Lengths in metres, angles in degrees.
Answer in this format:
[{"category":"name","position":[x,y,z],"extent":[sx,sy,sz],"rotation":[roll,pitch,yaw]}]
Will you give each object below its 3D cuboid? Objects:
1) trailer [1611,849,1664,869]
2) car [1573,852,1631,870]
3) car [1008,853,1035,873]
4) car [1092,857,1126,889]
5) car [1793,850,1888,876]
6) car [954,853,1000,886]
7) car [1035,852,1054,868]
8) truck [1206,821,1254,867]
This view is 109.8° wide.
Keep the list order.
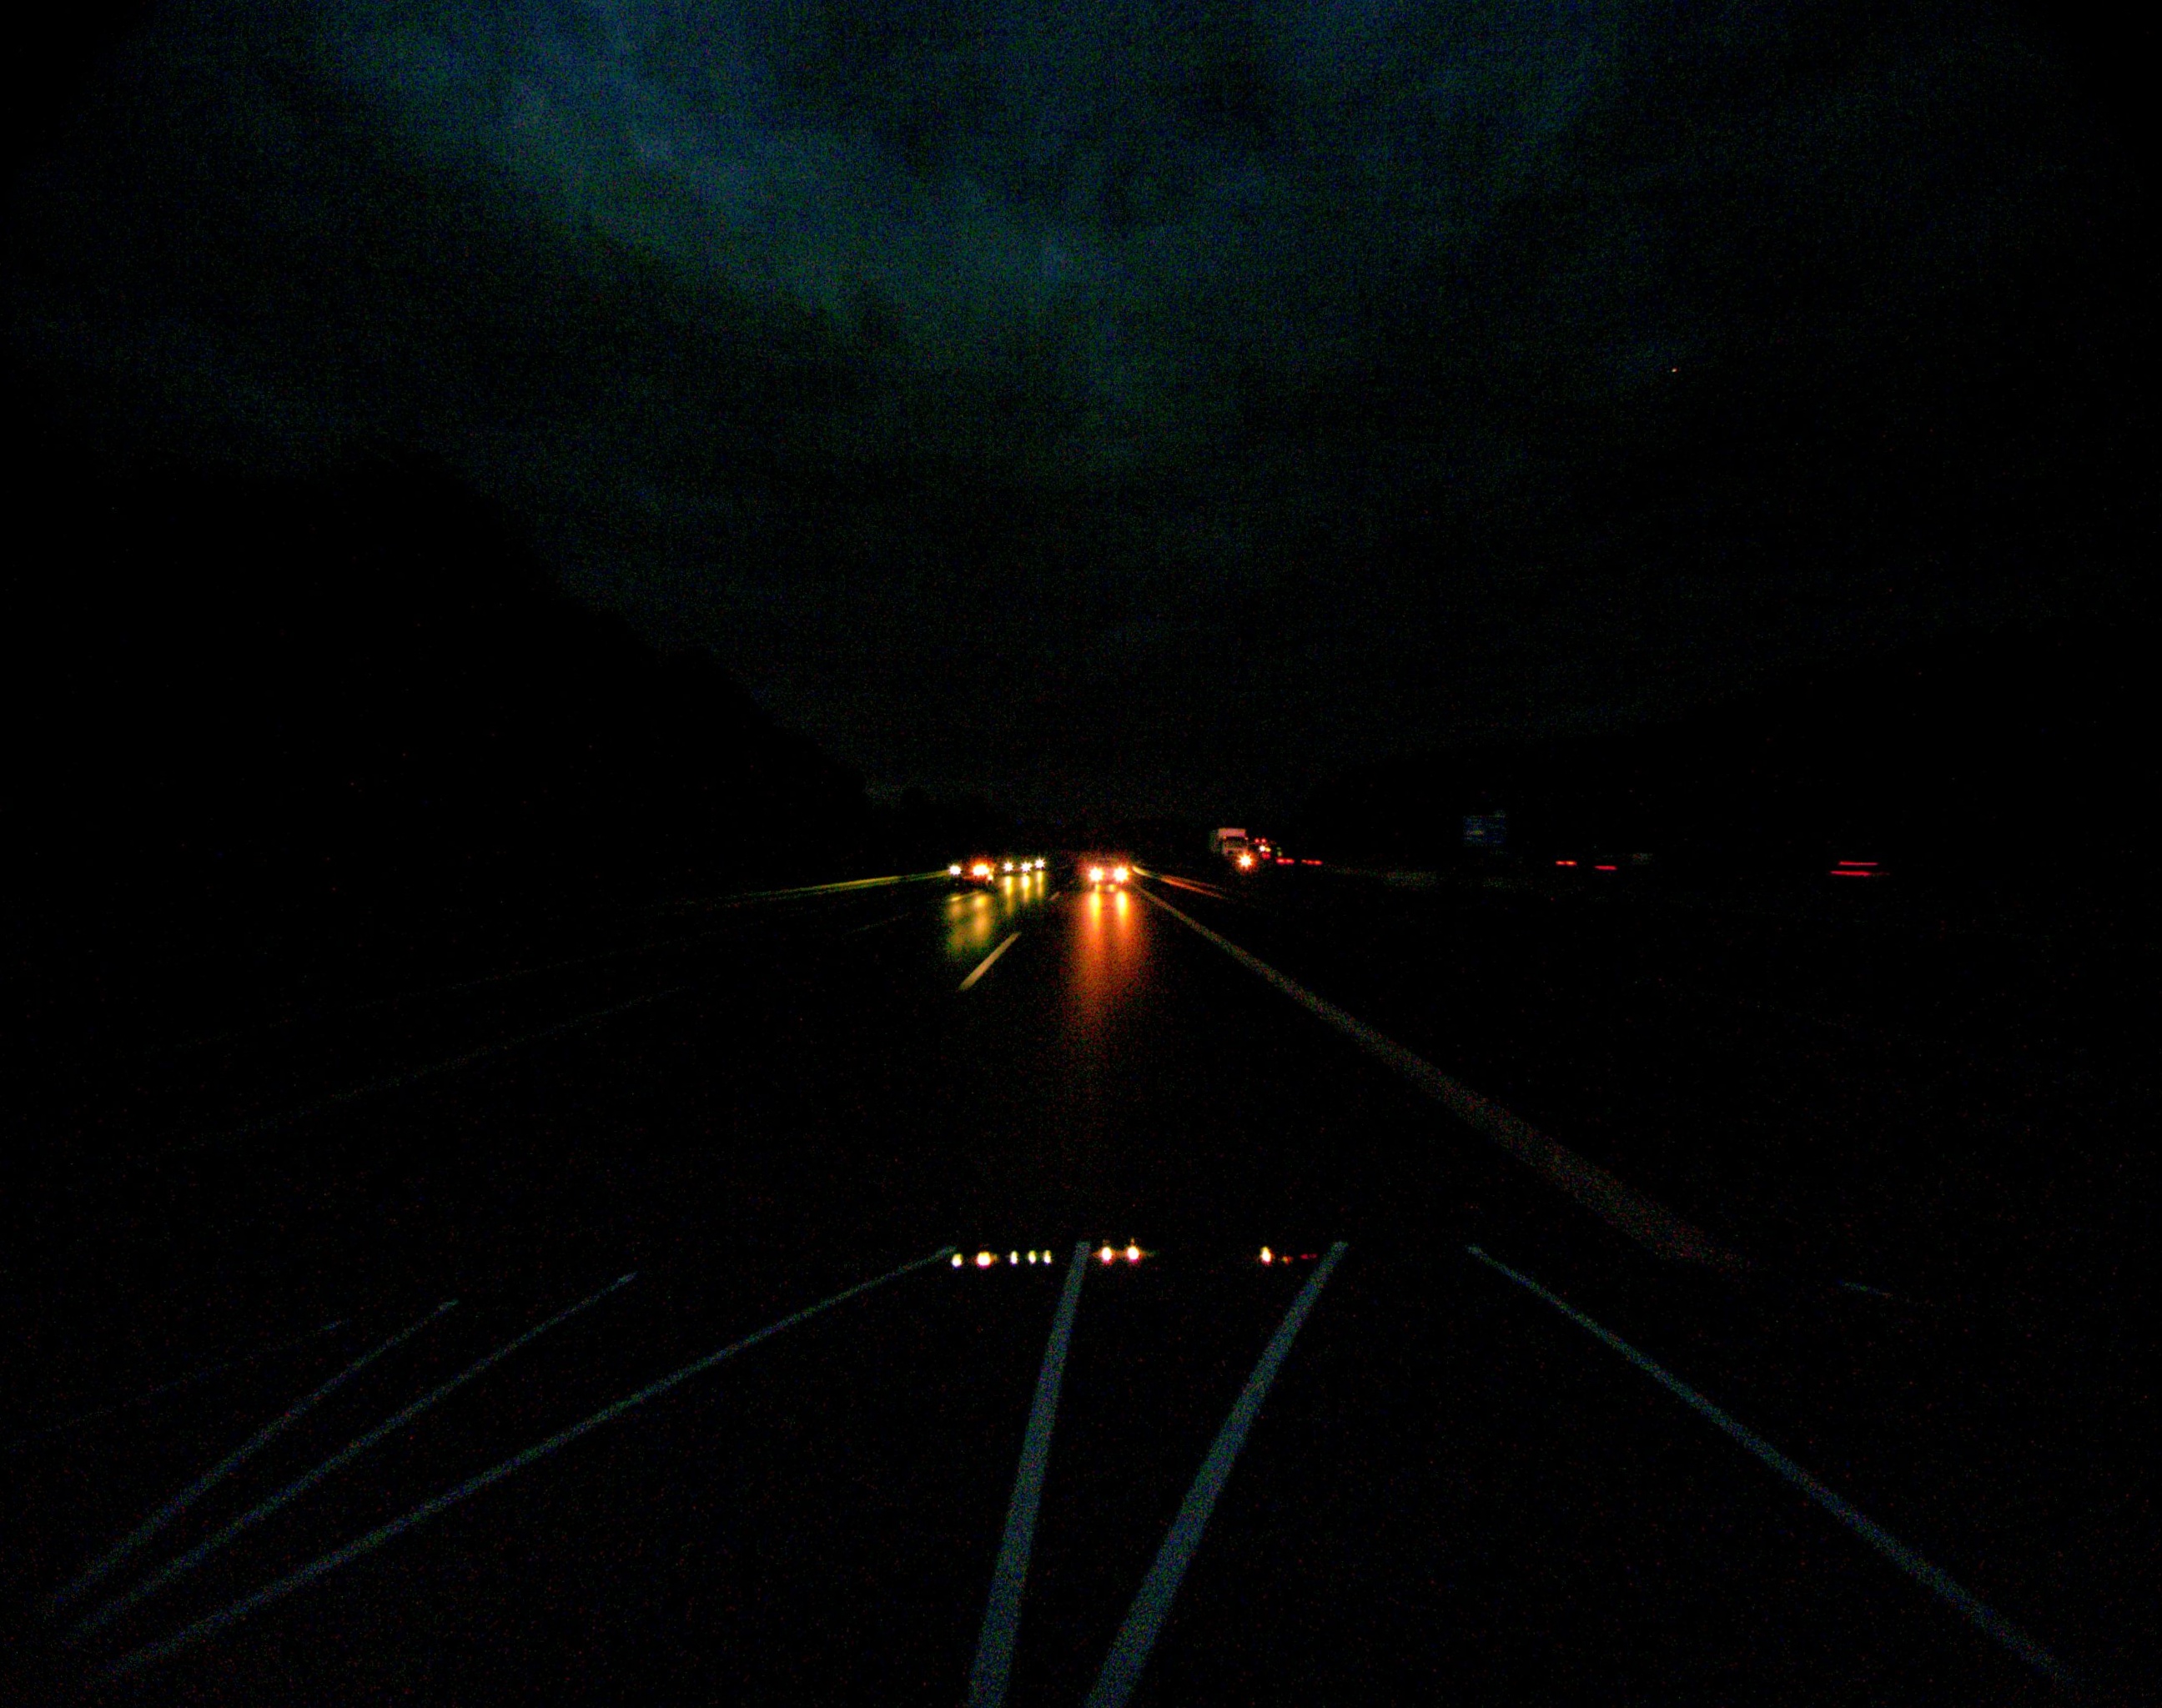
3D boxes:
[{"category":"trailer","position":[44.428,0.378,60.769],"extent":[1.539,1.586,3.599],"rotation":[0,0,-2]},{"category":"car","position":[44.347,0.581,64.806],"extent":[1.841,1.434,4.466],"rotation":[0,0,-1]},{"category":"car","position":[-4.853,0.688,62.533],"extent":[1.803,1.483,5.116],"rotation":[-3,0,-2]},{"category":"car","position":[1.423,0.939,39.578],"extent":[1.669,1.551,3.756],"rotation":[0,0,1]},{"category":"car","position":[48.323,0.558,48.497],"extent":[1.770,1.586,4.309],"rotation":[0,0,1]},{"category":"car","position":[-5.692,0.813,42.162],"extent":[1.802,1.636,5.159],"rotation":[1,1,0]},{"category":"car","position":[-3.826,0.617,79.380],"extent":[1.803,1.483,4.434],"rotation":[-3,0,-2]},{"category":"truck","position":[14.681,-0.999,75.666],"extent":[3.046,4.276,9.890],"rotation":[0,1,1]}]
